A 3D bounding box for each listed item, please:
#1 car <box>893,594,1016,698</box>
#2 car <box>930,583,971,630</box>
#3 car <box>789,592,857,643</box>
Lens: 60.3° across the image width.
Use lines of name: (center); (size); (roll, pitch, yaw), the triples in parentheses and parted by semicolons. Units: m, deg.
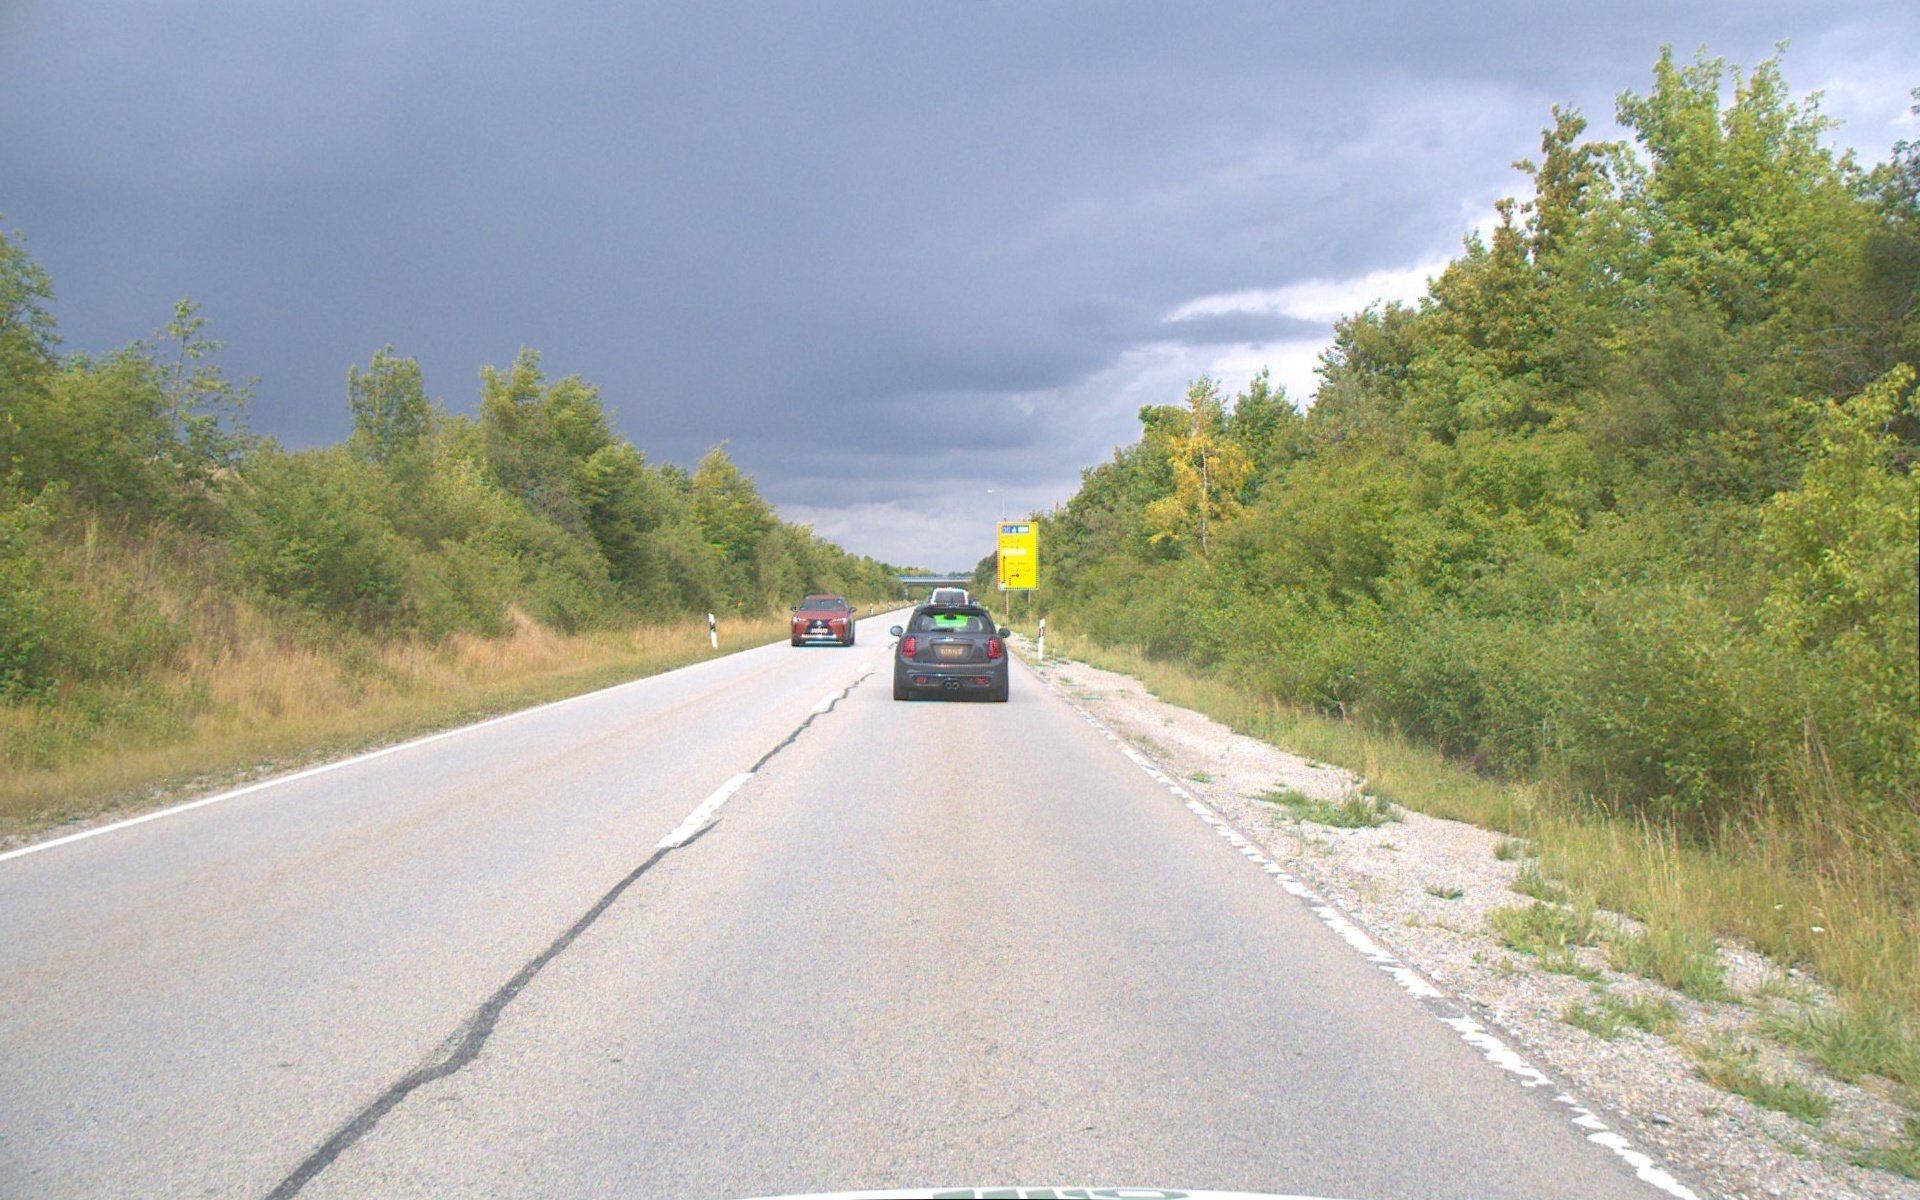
car: (-0.108, 0.667, 25.579); (1.721, 1.452, 3.999); (1, 0, -1)
car: (-0.465, 0.286, 76.424); (1.782, 2.090, 3.999); (1, 0, -1)
car: (-4.183, 0.504, 51.130); (1.791, 1.490, 4.410); (1, 0, -1)
